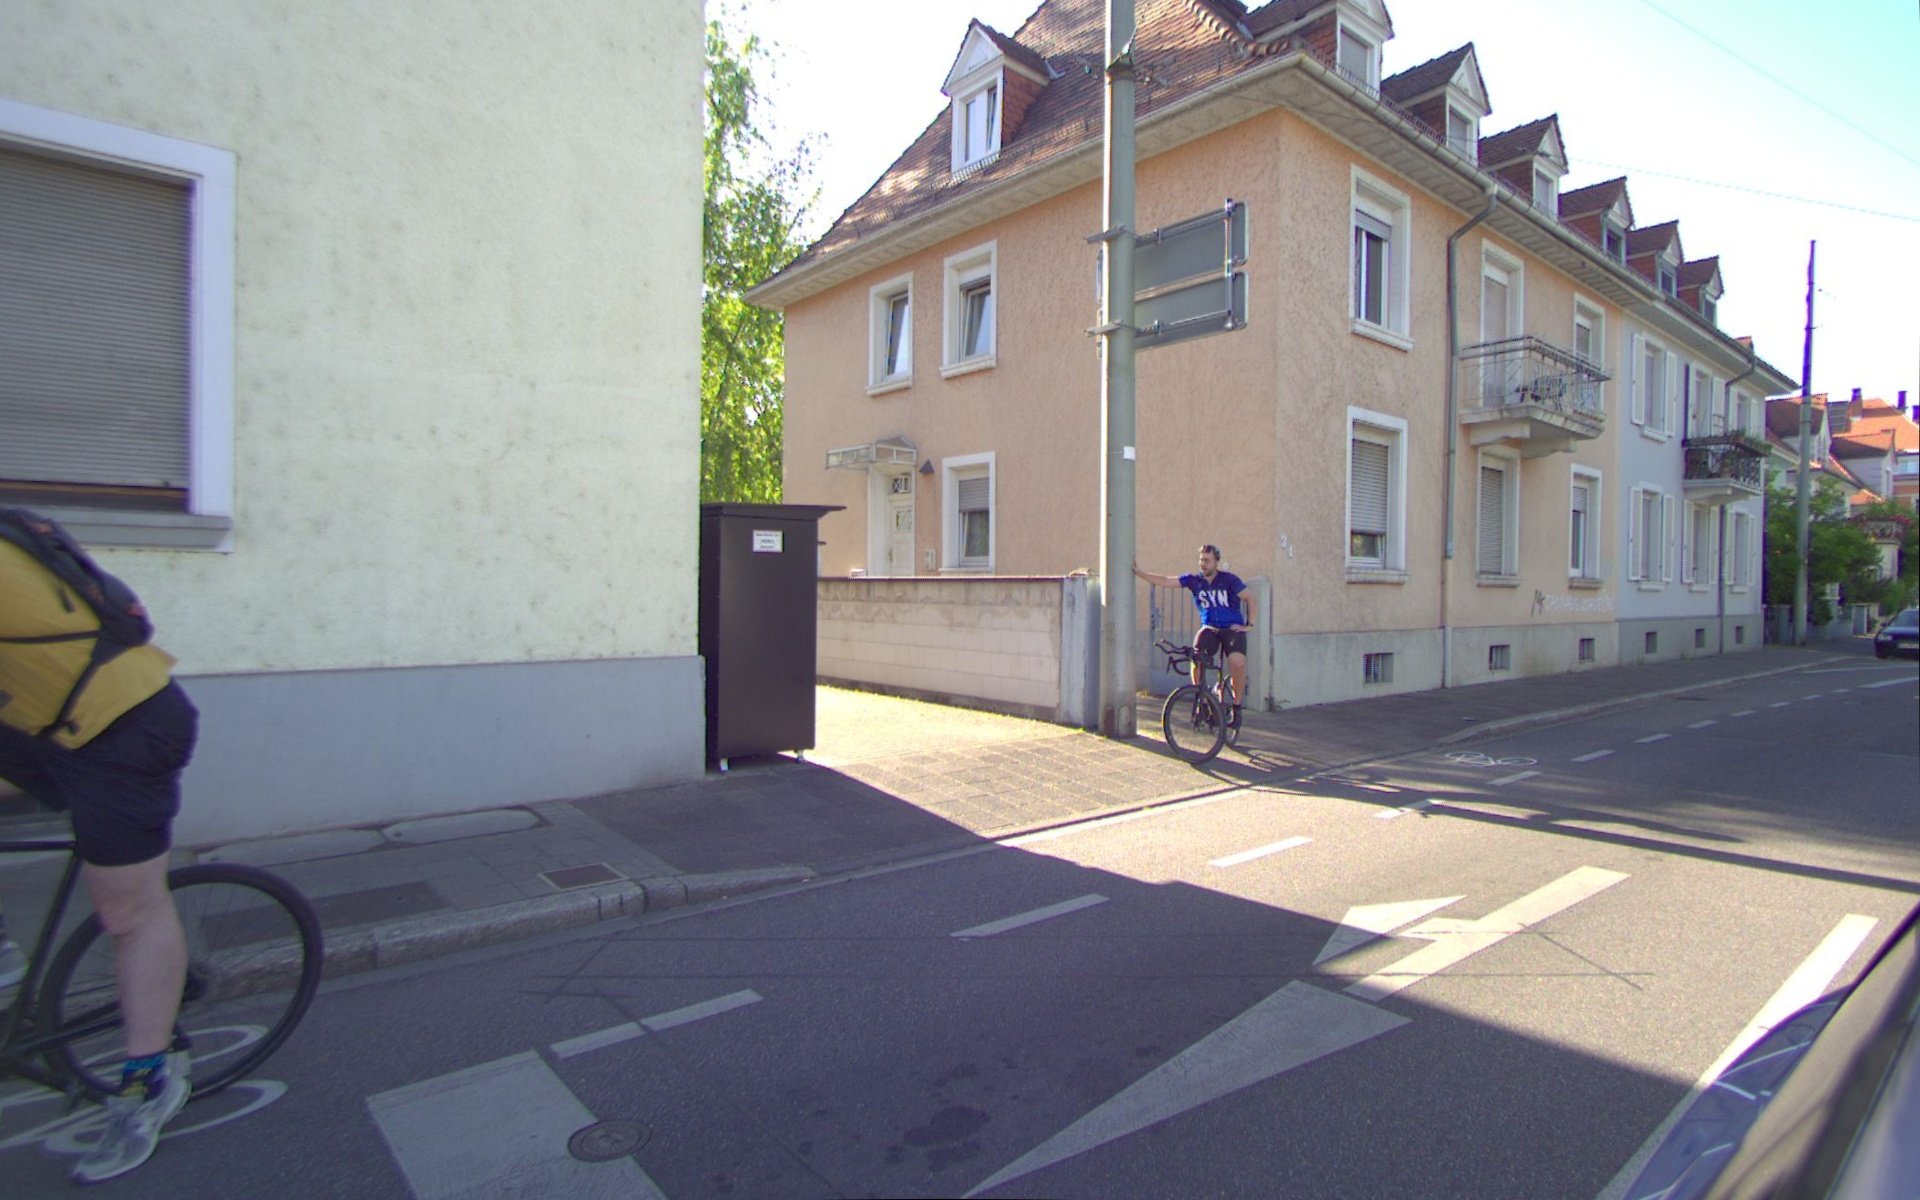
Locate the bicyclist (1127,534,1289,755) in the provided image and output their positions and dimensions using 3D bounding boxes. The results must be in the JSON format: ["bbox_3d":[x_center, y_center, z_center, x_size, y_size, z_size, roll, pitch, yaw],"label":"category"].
[{"bbox_3d":[2.294,0.361,9.430,0.831,1.887,1.076,0,4,-40],"label":"bicyclist"}]

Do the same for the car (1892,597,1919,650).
[{"bbox_3d":[26.710,0.628,27.337,3.796,1.382,1.648,0,1,-38],"label":"car"}]

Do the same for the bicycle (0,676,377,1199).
[{"bbox_3d":[-2.467,0.845,2.531,1.669,1.180,0.572,0,1,-41],"label":"bicycle"}]

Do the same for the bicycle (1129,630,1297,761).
[{"bbox_3d":[2.327,0.818,9.205,1.669,1.003,0.572,0,4,-41],"label":"bicycle"}]

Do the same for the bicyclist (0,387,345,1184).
[{"bbox_3d":[-2.291,0.422,2.696,1.018,1.840,0.653,0,1,-41],"label":"bicyclist"}]
